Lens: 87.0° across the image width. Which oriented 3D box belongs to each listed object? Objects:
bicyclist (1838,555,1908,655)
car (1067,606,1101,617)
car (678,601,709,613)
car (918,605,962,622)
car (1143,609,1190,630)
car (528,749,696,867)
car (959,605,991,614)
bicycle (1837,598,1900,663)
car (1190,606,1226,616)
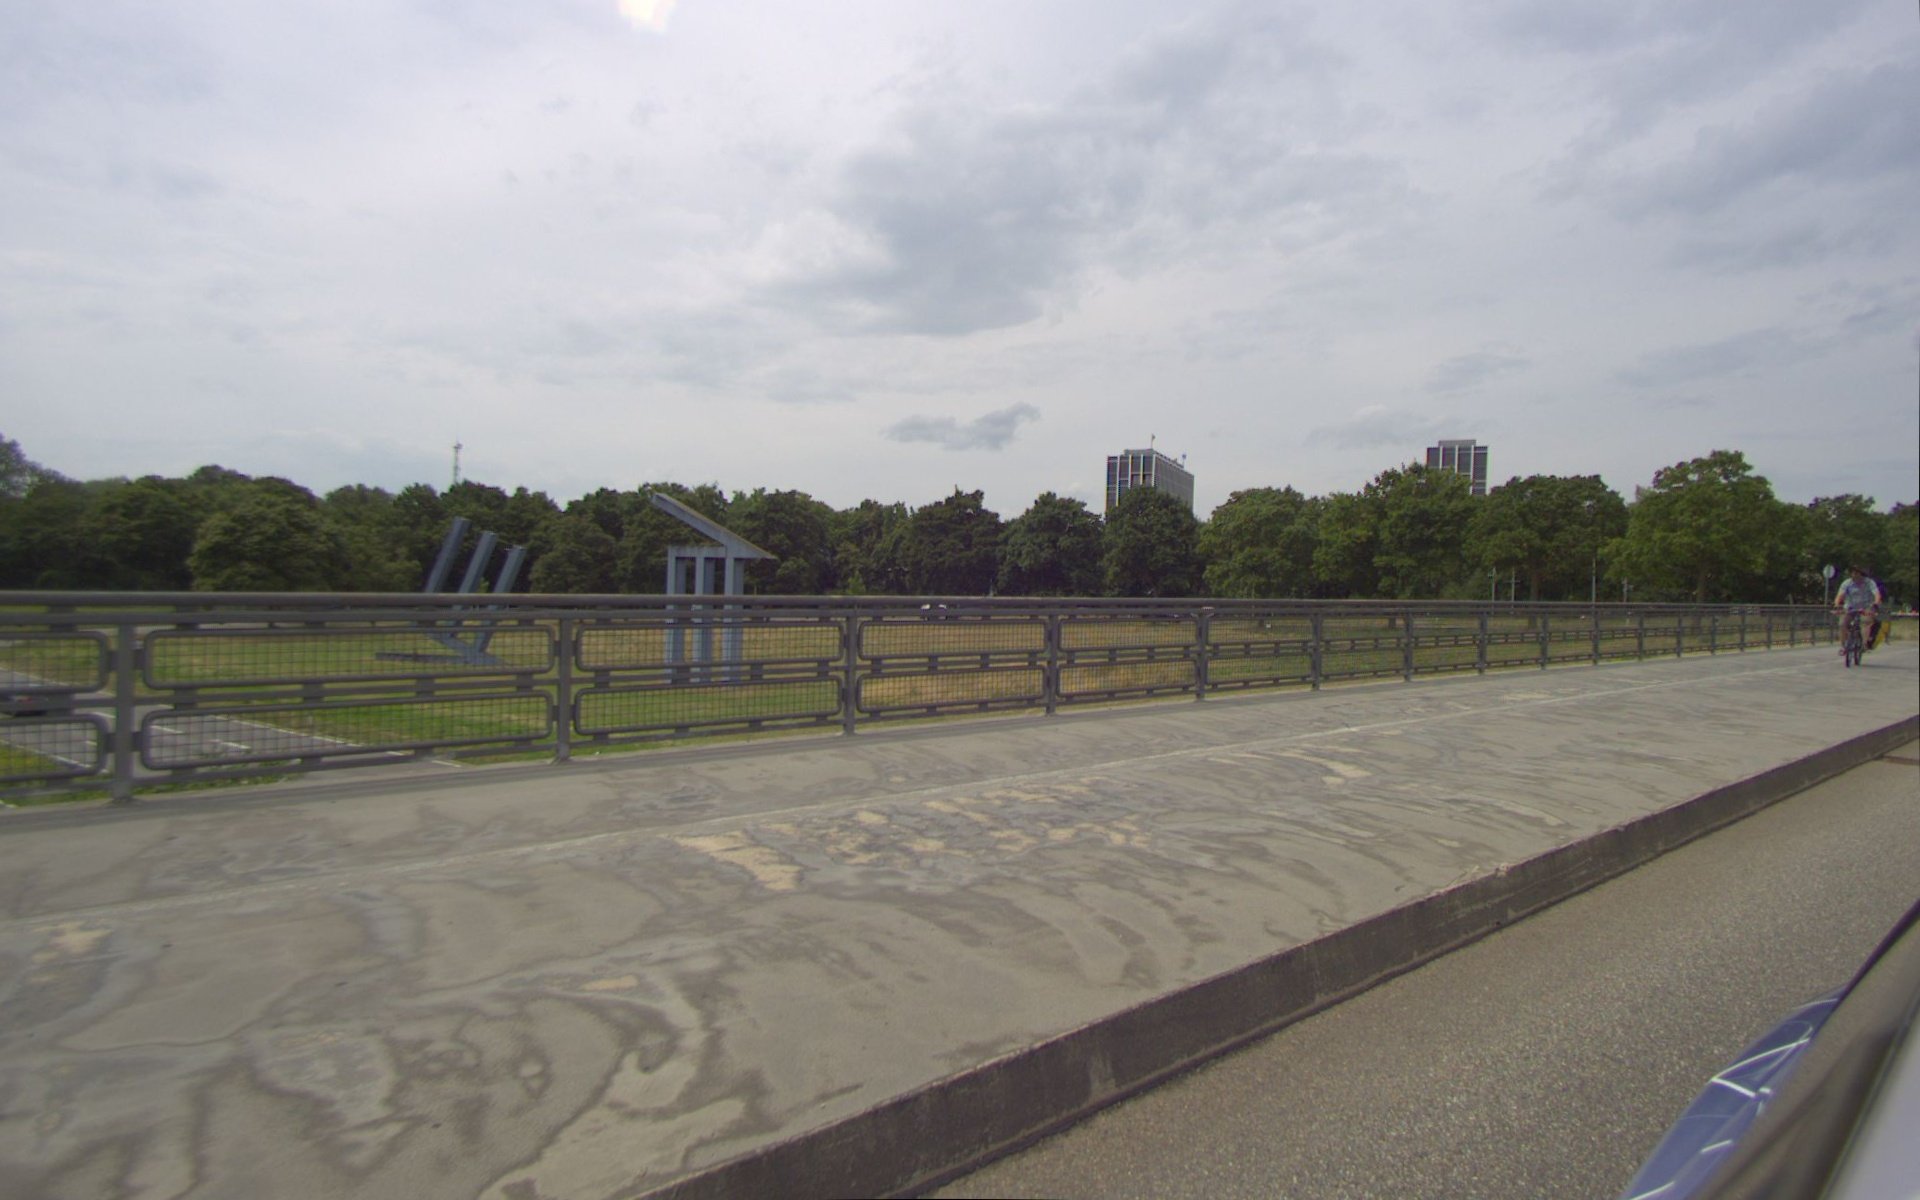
[{"bbox_3d":[17.354,0.080,19.232,0.871,1.823,0.941,4,3,45],"label":"bicyclist"},{"bbox_3d":[14.793,1.346,120.894,3.648,1.288,1.663,1,0,27],"label":"car"},{"bbox_3d":[-35.844,0.969,136.238,3.918,1.415,2.003,1,0,-8],"label":"car"},{"bbox_3d":[-2.410,1.617,120.611,4.843,1.825,1.986,2,0,21],"label":"car"},{"bbox_3d":[21.921,2.059,107.338,4.454,2.039,1.970,2,1,41],"label":"car"},{"bbox_3d":[-10.048,5.874,29.153,4.620,2.460,1.980,2,0,29],"label":"car"},{"bbox_3d":[1.902,1.216,128.078,3.648,1.145,1.663,1,0,27],"label":"car"},{"bbox_3d":[17.407,0.558,19.379,0.813,1.154,1.736,2,2,44],"label":"bicycle"},{"bbox_3d":[27.764,1.226,113.198,3.648,1.145,1.663,1,0,27],"label":"car"}]
